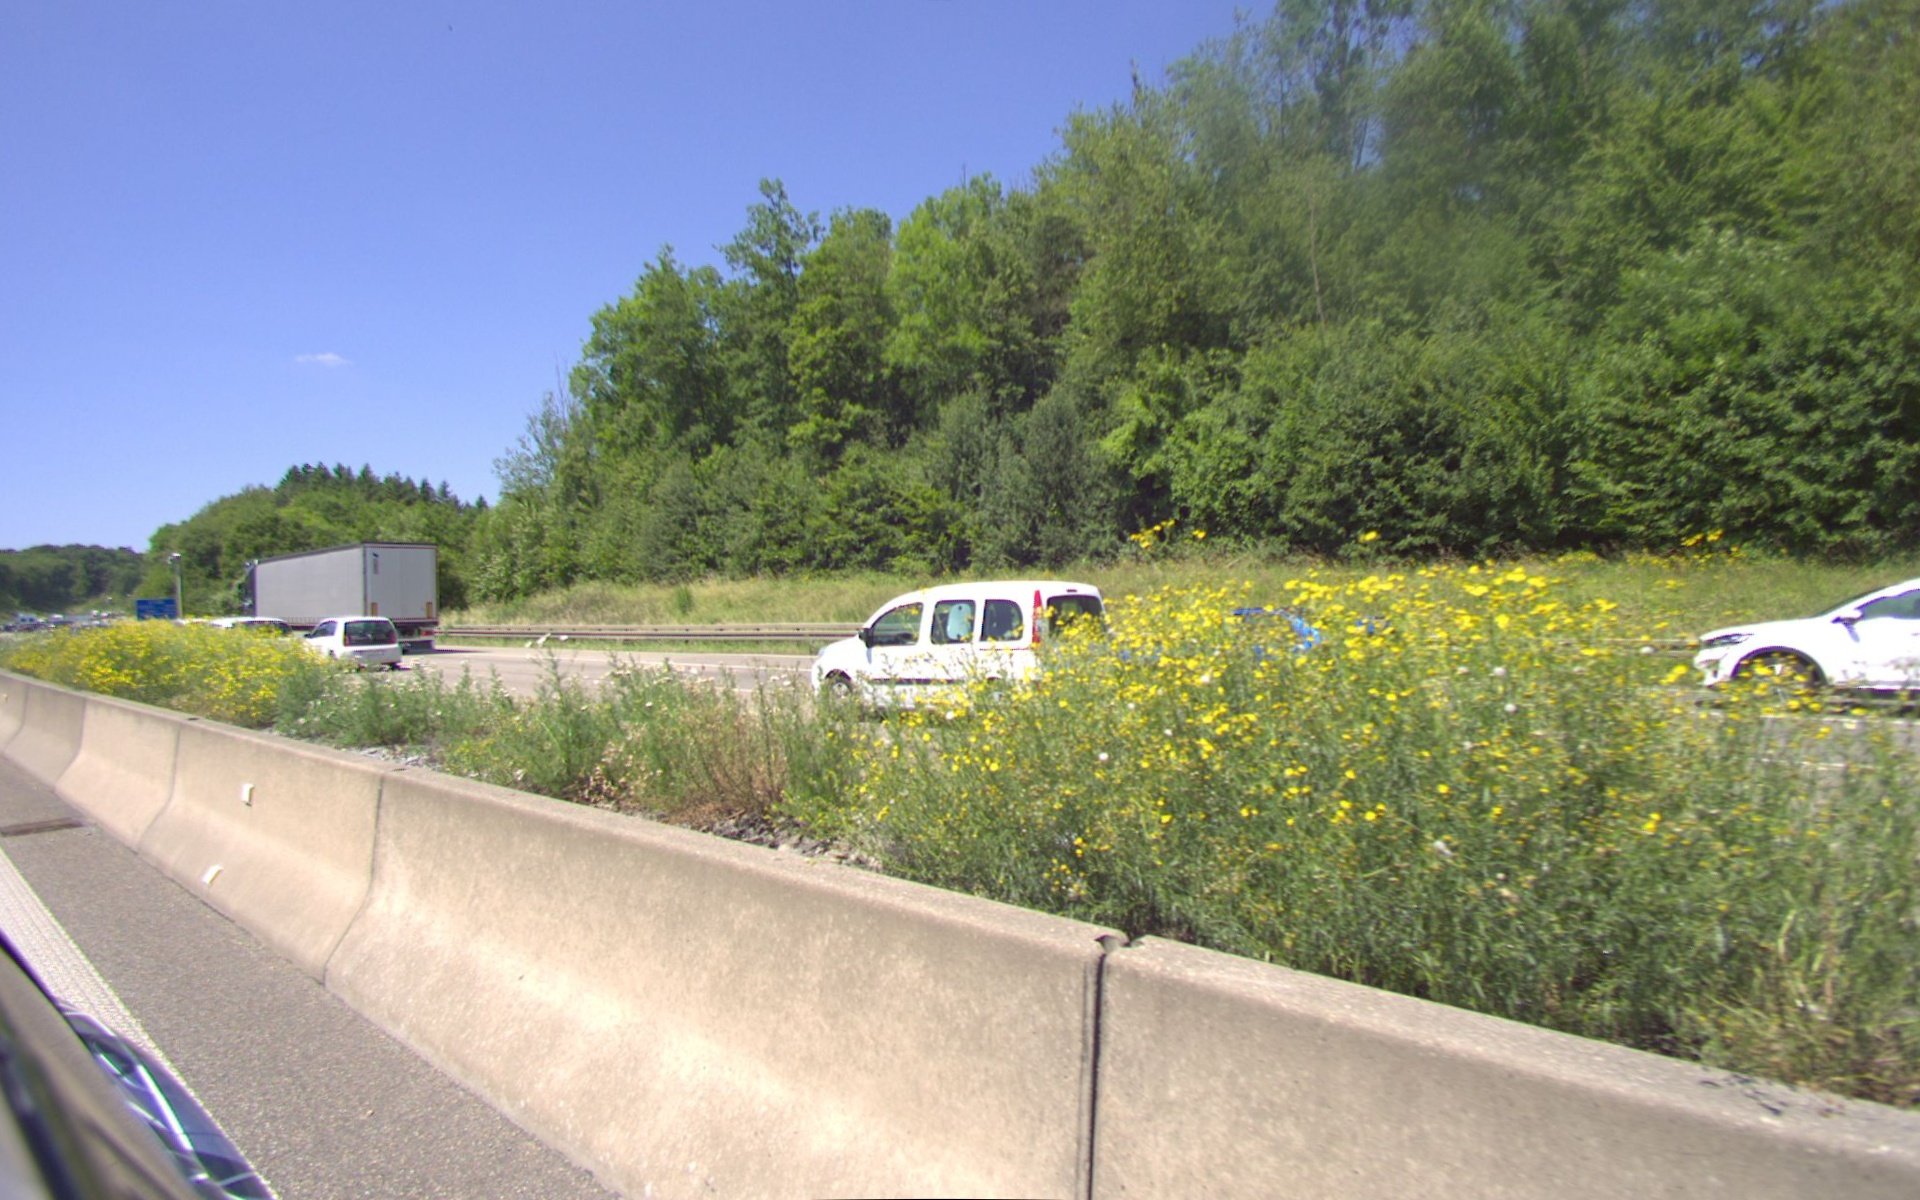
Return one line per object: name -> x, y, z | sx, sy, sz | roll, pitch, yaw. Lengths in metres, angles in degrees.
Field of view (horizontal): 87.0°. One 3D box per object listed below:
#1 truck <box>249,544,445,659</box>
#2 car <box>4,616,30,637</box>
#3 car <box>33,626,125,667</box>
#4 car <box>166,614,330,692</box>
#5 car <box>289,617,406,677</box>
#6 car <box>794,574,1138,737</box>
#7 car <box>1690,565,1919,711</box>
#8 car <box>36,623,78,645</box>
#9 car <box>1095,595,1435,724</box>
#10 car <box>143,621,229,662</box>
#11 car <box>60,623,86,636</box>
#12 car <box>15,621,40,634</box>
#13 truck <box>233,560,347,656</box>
truck -> -24.980, 0.190, 40.701 | 13.740, 3.968, 2.799 | -2, -1, 42
car -> -128.244, 3.616, 137.638 | 6.062, 2.722, 2.191 | -2, -1, 43
car -> -31.581, 1.620, 36.237 | 4.246, 1.351, 1.973 | -2, -1, 41
car -> -15.818, 1.115, 22.392 | 4.656, 1.514, 1.918 | -2, -1, 41
car -> -16.797, 1.249, 27.674 | 3.881, 1.509, 1.658 | -2, -1, 41
car -> -0.048, 0.638, 13.105 | 4.274, 1.768, 1.865 | -2, -1, 41
car -> 11.976, 0.435, 12.385 | 4.765, 1.705, 1.973 | -2, -1, 41
car -> -69.646, 2.600, 78.027 | 4.473, 1.640, 1.972 | -1, -1, 42
car -> 4.076, 0.727, 13.861 | 3.998, 1.503, 1.973 | -2, -1, 41
car -> -31.159, 1.645, 40.689 | 4.246, 1.509, 1.973 | -2, -1, 41
car -> -102.579, 3.403, 116.998 | 4.000, 1.464, 1.820 | -2, -1, 43
car -> -108.271, 3.199, 117.470 | 4.271, 1.412, 1.794 | -2, -1, 43
truck -> -29.974, 0.383, 45.184 | 6.004, 3.969, 2.799 | -2, -1, 42
